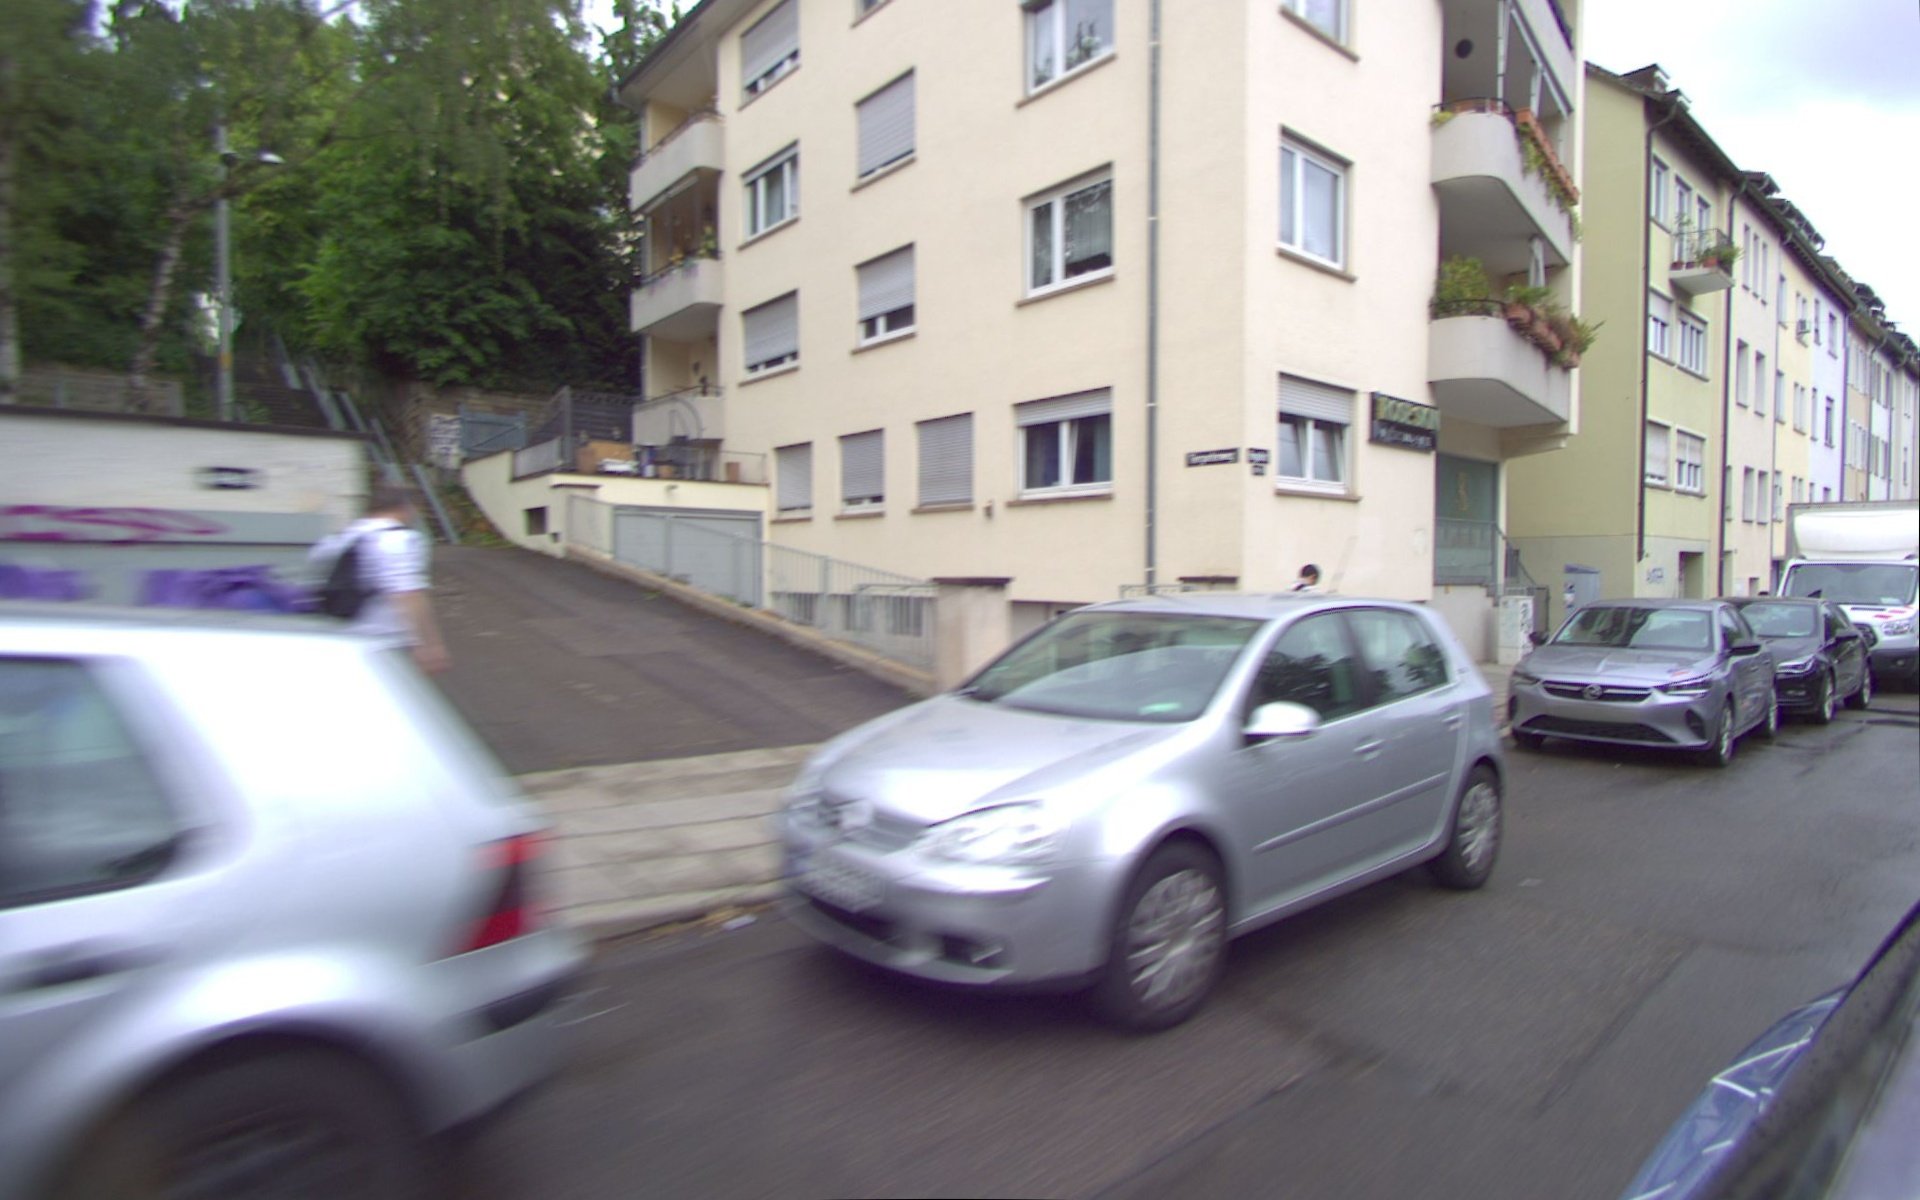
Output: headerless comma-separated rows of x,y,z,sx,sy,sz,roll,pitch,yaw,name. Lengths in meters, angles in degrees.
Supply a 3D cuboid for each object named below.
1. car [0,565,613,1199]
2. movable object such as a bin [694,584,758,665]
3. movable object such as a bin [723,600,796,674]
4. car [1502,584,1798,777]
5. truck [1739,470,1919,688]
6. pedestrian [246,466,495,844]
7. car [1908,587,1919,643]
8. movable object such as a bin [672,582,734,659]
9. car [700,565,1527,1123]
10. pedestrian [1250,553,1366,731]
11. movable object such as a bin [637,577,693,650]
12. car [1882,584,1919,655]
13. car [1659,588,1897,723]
-2.750,0.649,1.592,3.854,1.417,1.666,-1,2,-42,car
-3.265,0.326,14.127,0.655,1.053,0.578,-1,4,-43,movable object such as a bin
-2.662,0.476,13.417,0.642,0.888,0.742,-1,4,-43,movable object such as a bin
6.945,0.615,10.032,3.857,1.438,1.665,-2,3,-44,car
16.233,-0.386,17.894,6.912,3.211,2.475,-1,2,-40,truck
-2.994,0.245,5.198,0.755,1.753,0.742,4,2,9,pedestrian
27.892,0.411,28.238,4.026,1.518,1.666,0,2,-41,car
-3.720,0.279,14.645,0.655,1.053,0.578,-1,4,-43,movable object such as a bin
0.956,0.614,4.652,3.853,1.521,1.666,-1,2,-41,car
3.383,0.382,9.862,0.730,1.622,0.667,0,5,-36,pedestrian
-4.546,0.194,15.591,0.655,1.053,0.523,-1,4,-43,movable object such as a bin
23.568,0.440,24.259,4.026,1.593,1.666,0,2,-41,car
10.527,0.603,12.931,3.971,1.438,1.666,0,1,-41,car
